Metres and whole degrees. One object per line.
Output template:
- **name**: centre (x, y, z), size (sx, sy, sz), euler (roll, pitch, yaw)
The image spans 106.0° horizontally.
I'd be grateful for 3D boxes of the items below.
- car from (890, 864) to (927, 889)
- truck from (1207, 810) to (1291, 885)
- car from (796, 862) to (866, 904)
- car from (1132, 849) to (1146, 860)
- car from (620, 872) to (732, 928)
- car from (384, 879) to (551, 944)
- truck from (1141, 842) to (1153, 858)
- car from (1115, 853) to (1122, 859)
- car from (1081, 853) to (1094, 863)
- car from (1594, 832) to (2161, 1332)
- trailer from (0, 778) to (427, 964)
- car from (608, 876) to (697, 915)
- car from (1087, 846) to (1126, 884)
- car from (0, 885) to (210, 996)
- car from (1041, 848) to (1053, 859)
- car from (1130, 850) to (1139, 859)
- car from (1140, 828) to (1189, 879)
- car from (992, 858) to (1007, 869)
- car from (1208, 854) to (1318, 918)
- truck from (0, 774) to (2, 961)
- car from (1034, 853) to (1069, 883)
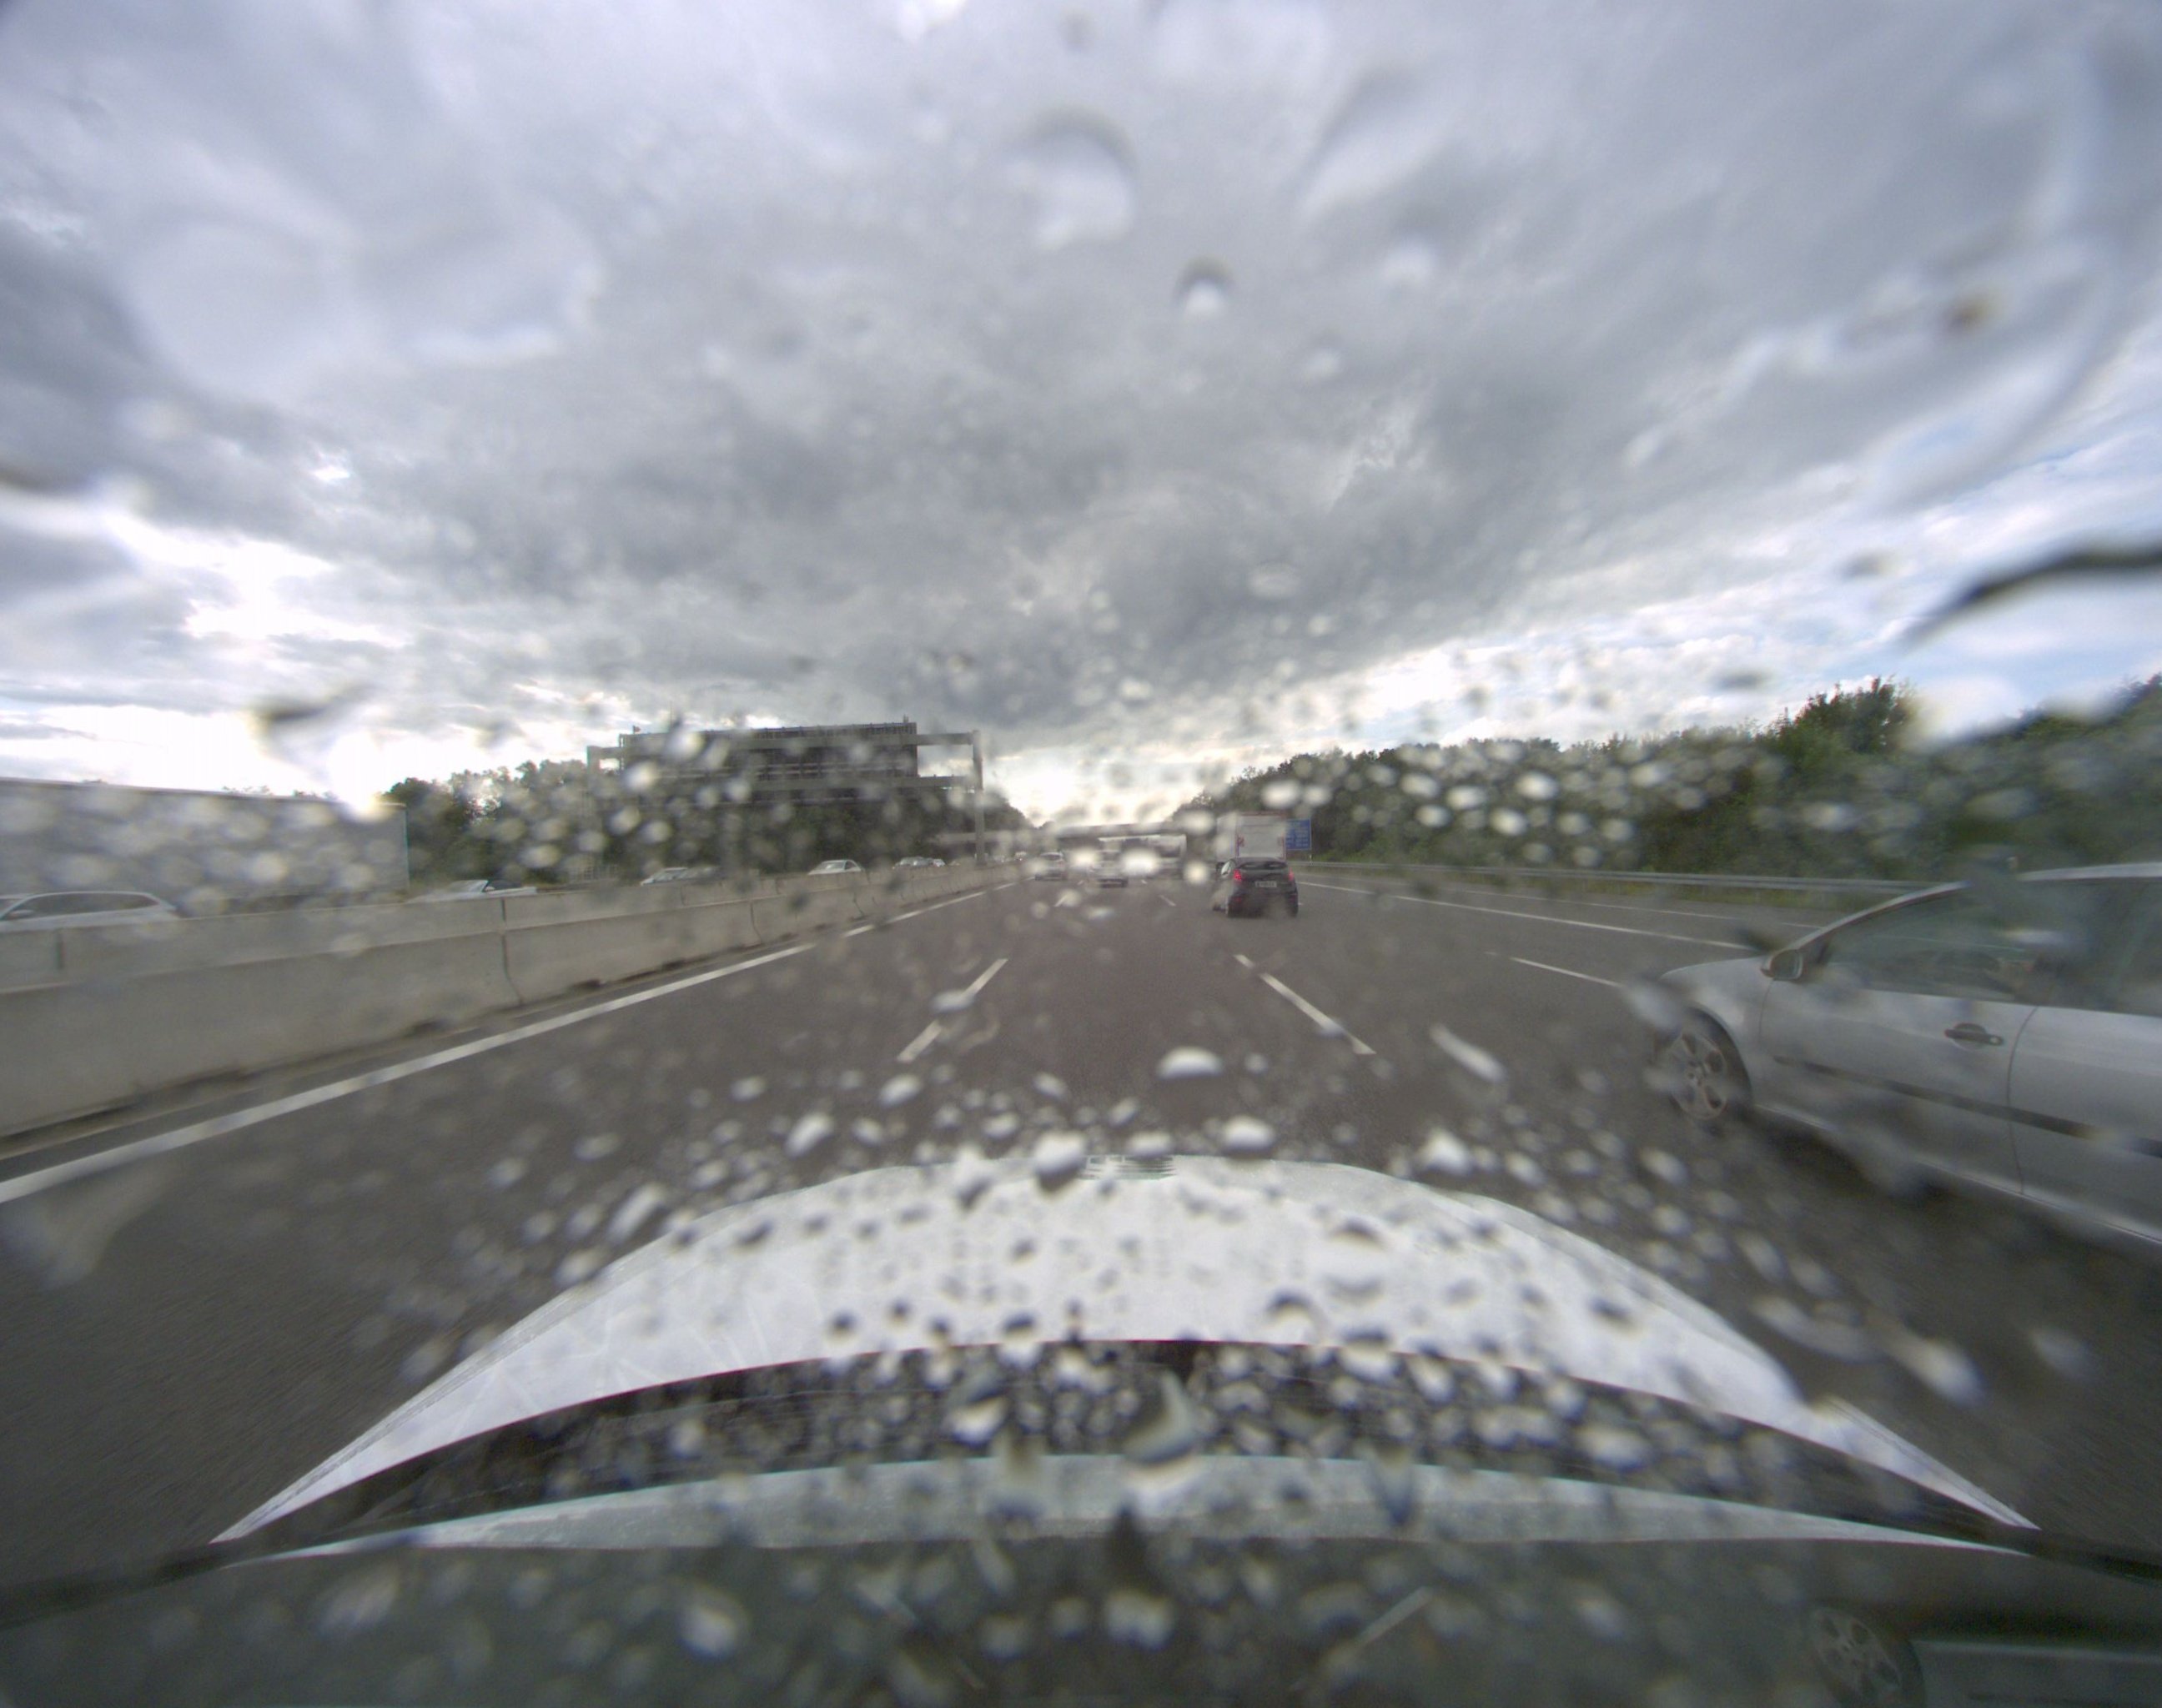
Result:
- **car**: centre (-14.678, 1.903, 69.603), size (1.986, 2.013, 4.763), euler (-1, 0, 2)
- **truck**: centre (9.139, -0.338, 45.511), size (3.120, 3.709, 9.855), euler (-1, 0, 3)
- **car**: centre (-12.352, 1.377, 40.607), size (1.986, 1.891, 4.364), euler (-1, 0, 2)
- **car**: centre (9.660, 0.107, 135.740), size (2.035, 1.823, 4.907), euler (-1, 0, 2)
- **car**: centre (-16.760, 1.856, 34.049), size (1.986, 2.013, 5.100), euler (-1, 0, 2)
- **car**: centre (-19.953, 1.795, 26.804), size (1.814, 1.781, 4.674), euler (-1, 0, 1)
- **truck**: centre (16.980, -0.997, 210.122), size (2.894, 3.810, 7.278), euler (-1, 0, 2)
- **car**: centre (10.678, 0.538, 233.608), size (1.876, 1.686, 3.998), euler (-1, 0, -1)
- **car**: centre (1.048, 0.598, 122.036), size (1.774, 1.481, 4.355), euler (-1, 0, 2)
- **car**: centre (4.092, 0.659, 3.109), size (1.789, 1.477, 4.038), euler (-1, 0, 1)
- **trailer**: centre (-24.907, 0.381, 21.829), size (3.226, 4.028, 13.813), euler (-1, 0, 2)
- **car**: centre (-24.895, 2.369, 47.571), size (2.421, 1.952, 4.831), euler (-1, 0, 2)
- **car**: centre (1.283, 0.496, 39.367), size (1.773, 1.716, 4.356), euler (-1, 0, 3)
- **car**: centre (-20.662, 1.663, 15.930), size (1.986, 1.873, 4.763), euler (-1, 0, 2)
- **car**: centre (-7.259, -0.102, 173.258), size (1.985, 2.181, 5.293), euler (-1, 0, 3)
- **car**: centre (11.823, 0.108, 180.300), size (2.035, 1.823, 4.907), euler (-1, 0, 2)
- **car**: centre (5.101, -0.014, 50.900), size (2.557, 2.895, 7.537), euler (-1, 0, 2)
- **car**: centre (-15.444, 1.854, 154.332), size (1.985, 1.952, 5.228), euler (-1, 0, 2)
- **car**: centre (4.468, 0.729, 20.634), size (1.878, 1.407, 4.283), euler (-1, 0, 1)
- **truck**: centre (-25.123, 0.315, 14.574), size (3.208, 4.057, 6.234), euler (-1, 0, 2)
- **car**: centre (-1.752, 0.788, 49.898), size (1.808, 1.689, 4.853), euler (-1, 0, 1)
